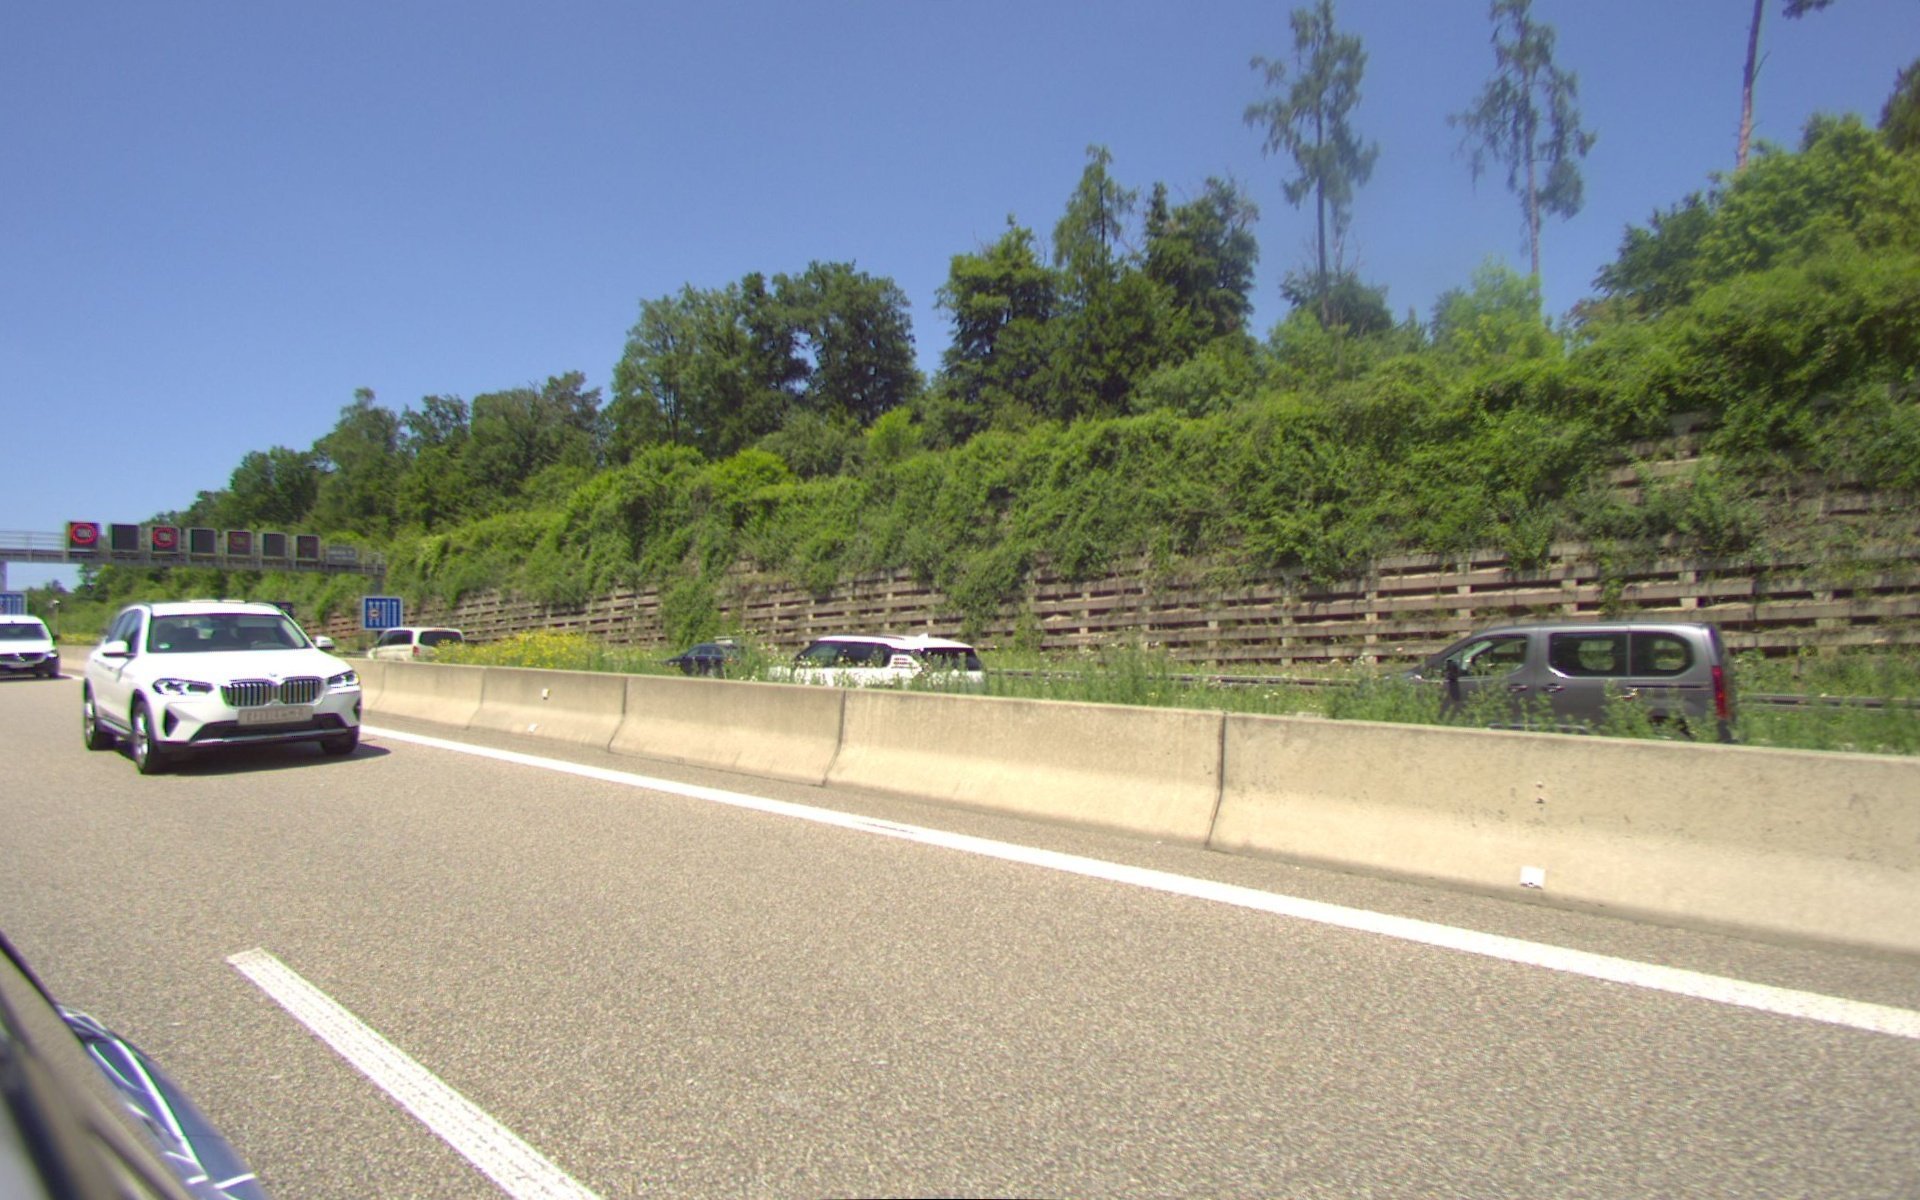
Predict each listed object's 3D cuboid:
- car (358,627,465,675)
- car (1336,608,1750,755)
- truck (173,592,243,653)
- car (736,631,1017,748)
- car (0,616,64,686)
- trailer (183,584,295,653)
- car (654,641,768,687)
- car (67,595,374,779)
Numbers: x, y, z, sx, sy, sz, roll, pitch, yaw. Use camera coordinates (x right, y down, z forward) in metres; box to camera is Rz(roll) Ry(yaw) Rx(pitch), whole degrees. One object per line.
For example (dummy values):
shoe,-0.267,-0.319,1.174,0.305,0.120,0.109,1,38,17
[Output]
car,-20.015,1.831,36.853,5.076,1.619,1.872,-3,-2,42
car,7.118,0.917,12.636,4.202,1.533,1.769,-2,-3,42
truck,-52.095,1.602,70.055,5.927,4.061,2.652,-3,-2,41
car,-1.367,1.242,15.397,4.202,1.533,1.916,-2,-3,42
car,-26.654,1.424,28.262,4.500,1.788,1.972,-3,0,43
trailer,-46.763,1.361,65.390,14.180,4.046,2.652,-3,-2,41
car,-9.025,2.279,36.547,4.201,1.533,1.917,-2,-3,41
car,-8.333,0.816,11.253,4.366,1.656,1.826,-1,0,41
